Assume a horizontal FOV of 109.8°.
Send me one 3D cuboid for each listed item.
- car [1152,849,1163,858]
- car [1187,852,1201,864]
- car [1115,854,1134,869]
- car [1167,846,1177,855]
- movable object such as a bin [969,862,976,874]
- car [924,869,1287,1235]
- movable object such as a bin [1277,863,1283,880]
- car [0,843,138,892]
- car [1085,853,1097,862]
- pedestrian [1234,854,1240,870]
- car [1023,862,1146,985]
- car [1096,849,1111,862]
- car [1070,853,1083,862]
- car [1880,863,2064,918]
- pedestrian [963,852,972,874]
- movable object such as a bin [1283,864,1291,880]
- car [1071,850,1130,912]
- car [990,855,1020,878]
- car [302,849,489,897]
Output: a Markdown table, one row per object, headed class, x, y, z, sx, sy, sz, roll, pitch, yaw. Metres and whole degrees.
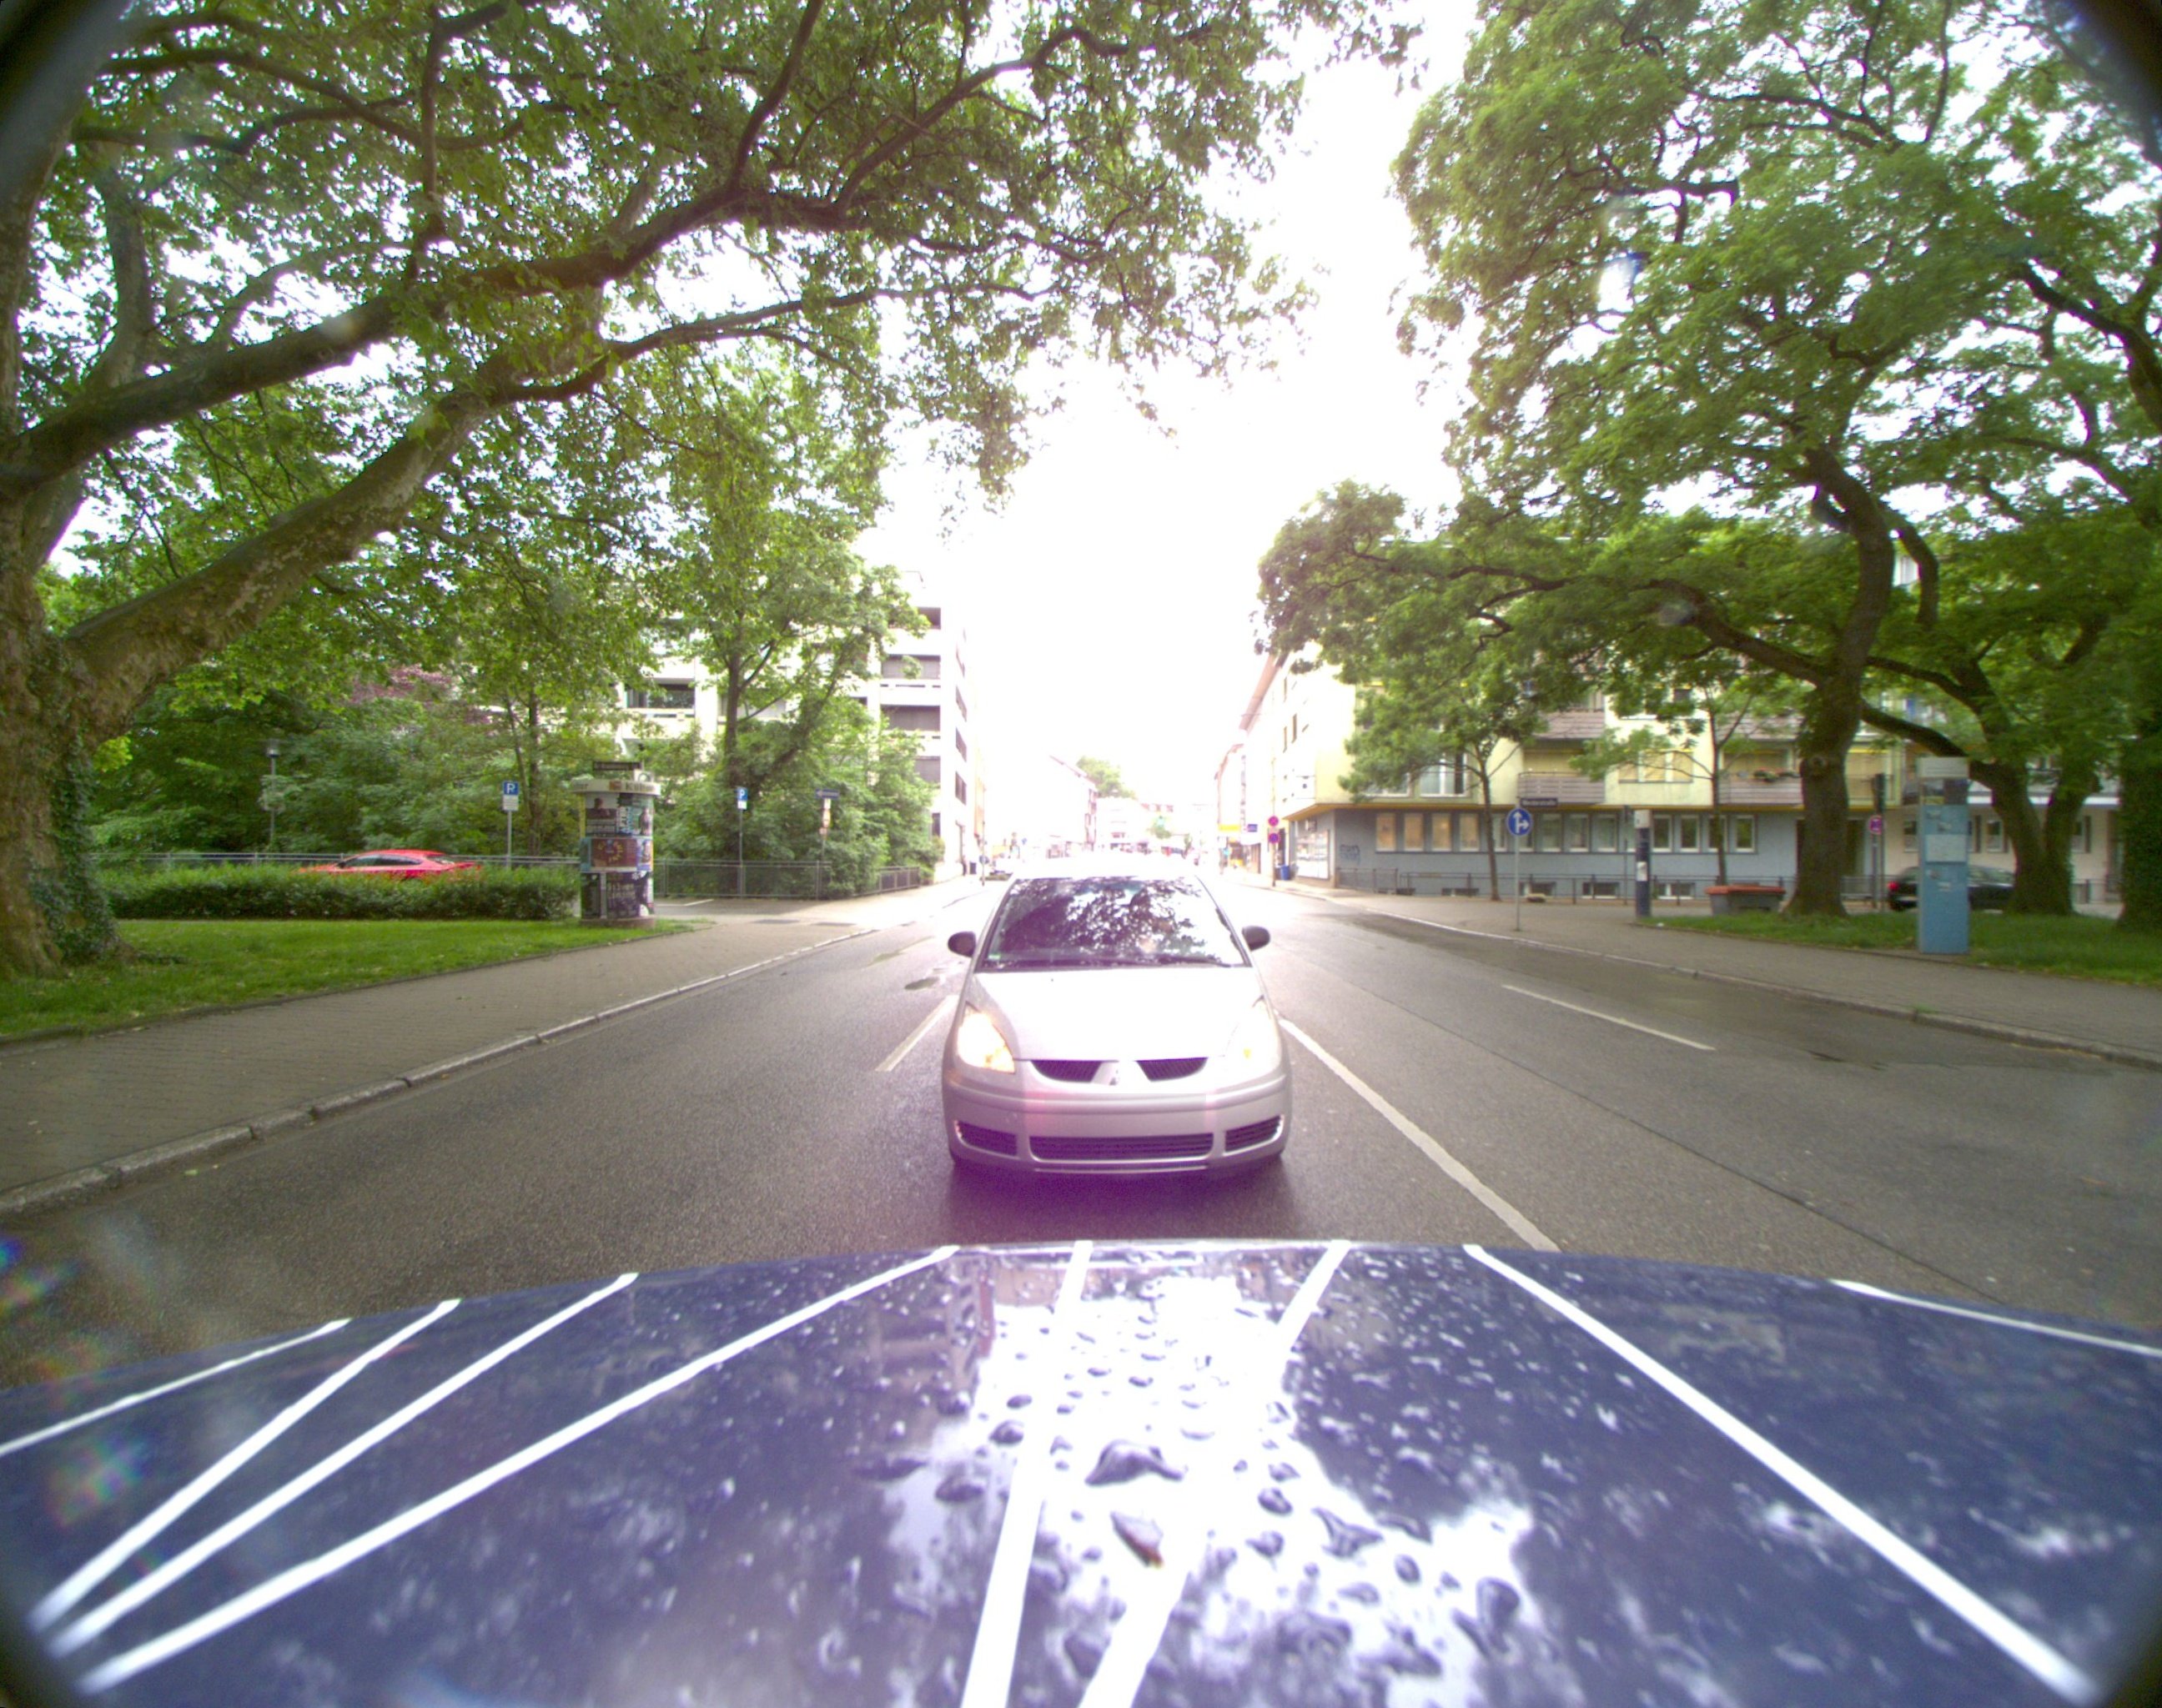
| class | x | y | z | sx | sy | sz | roll | pitch | yaw |
| --- | --- | --- | --- | --- | --- | --- | --- | --- | --- |
| car | 14.810 | -0.052 | 147.082 | 1.998 | 1.631 | 4.001 | 1 | 0 | 4 |
| car | 17.980 | 0.631 | 121.307 | 1.889 | 1.707 | 4.001 | 1 | 0 | 4 |
| car | 4.269 | 0.695 | 75.629 | 1.701 | 1.433 | 3.897 | 1 | 0 | 1 |
| car | 19.248 | -0.674 | 160.873 | 1.998 | 1.841 | 4.001 | 1 | 0 | 4 |
| movable object such as a bin | -8.997 | 1.166 | 62.938 | 0.556 | 1.035 | 0.292 | 1 | 1 | 0 |
| car | 0.136 | 0.917 | 4.989 | 1.576 | 1.514 | 3.241 | -1 | 0 | 1 |
| movable object such as a bin | 12.654 | 1.112 | 48.278 | 0.338 | 1.023 | 0.353 | 1 | 1 | 8 |
| car | -29.008 | 0.371 | 21.163 | 3.468 | 1.271 | 1.448 | 1 | 1 | -5 |
| car | 1.570 | 0.515 | 120.031 | 1.802 | 1.433 | 3.897 | 1 | 0 | 1 |
| pedestrian | 17.582 | 0.898 | 85.478 | 0.594 | 1.833 | 0.565 | 1 | 1 | 8 |
| car | 0.120 | 0.923 | 11.813 | 1.590 | 1.540 | 3.771 | 1 | 0 | 2 |
| car | 3.310 | 0.148 | 112.225 | 1.935 | 1.817 | 3.999 | -2 | 1 | 0 |
| car | -0.681 | 0.514 | 113.423 | 1.802 | 1.433 | 3.896 | 1 | 0 | 0 |
| car | 26.509 | 1.052 | 22.700 | 3.564 | 1.480 | 1.572 | 1 | 1 | 1 |
| pedestrian | -8.134 | 0.644 | 54.551 | 0.480 | 1.521 | 0.481 | -2 | 1 | 1 |
| movable object such as a bin | 13.076 | 1.149 | 48.260 | 0.415 | 1.023 | 0.353 | 1 | 1 | 8 |
| car | 0.536 | 0.746 | 22.776 | 1.584 | 1.705 | 3.649 | 1 | 0 | 0 |
| car | -5.318 | 0.860 | 53.511 | 1.681 | 1.424 | 3.681 | 3 | 0 | 1 |
| car | -19.400 | 0.516 | 21.616 | 3.790 | 1.271 | 1.576 | 1 | 1 | -3 |
